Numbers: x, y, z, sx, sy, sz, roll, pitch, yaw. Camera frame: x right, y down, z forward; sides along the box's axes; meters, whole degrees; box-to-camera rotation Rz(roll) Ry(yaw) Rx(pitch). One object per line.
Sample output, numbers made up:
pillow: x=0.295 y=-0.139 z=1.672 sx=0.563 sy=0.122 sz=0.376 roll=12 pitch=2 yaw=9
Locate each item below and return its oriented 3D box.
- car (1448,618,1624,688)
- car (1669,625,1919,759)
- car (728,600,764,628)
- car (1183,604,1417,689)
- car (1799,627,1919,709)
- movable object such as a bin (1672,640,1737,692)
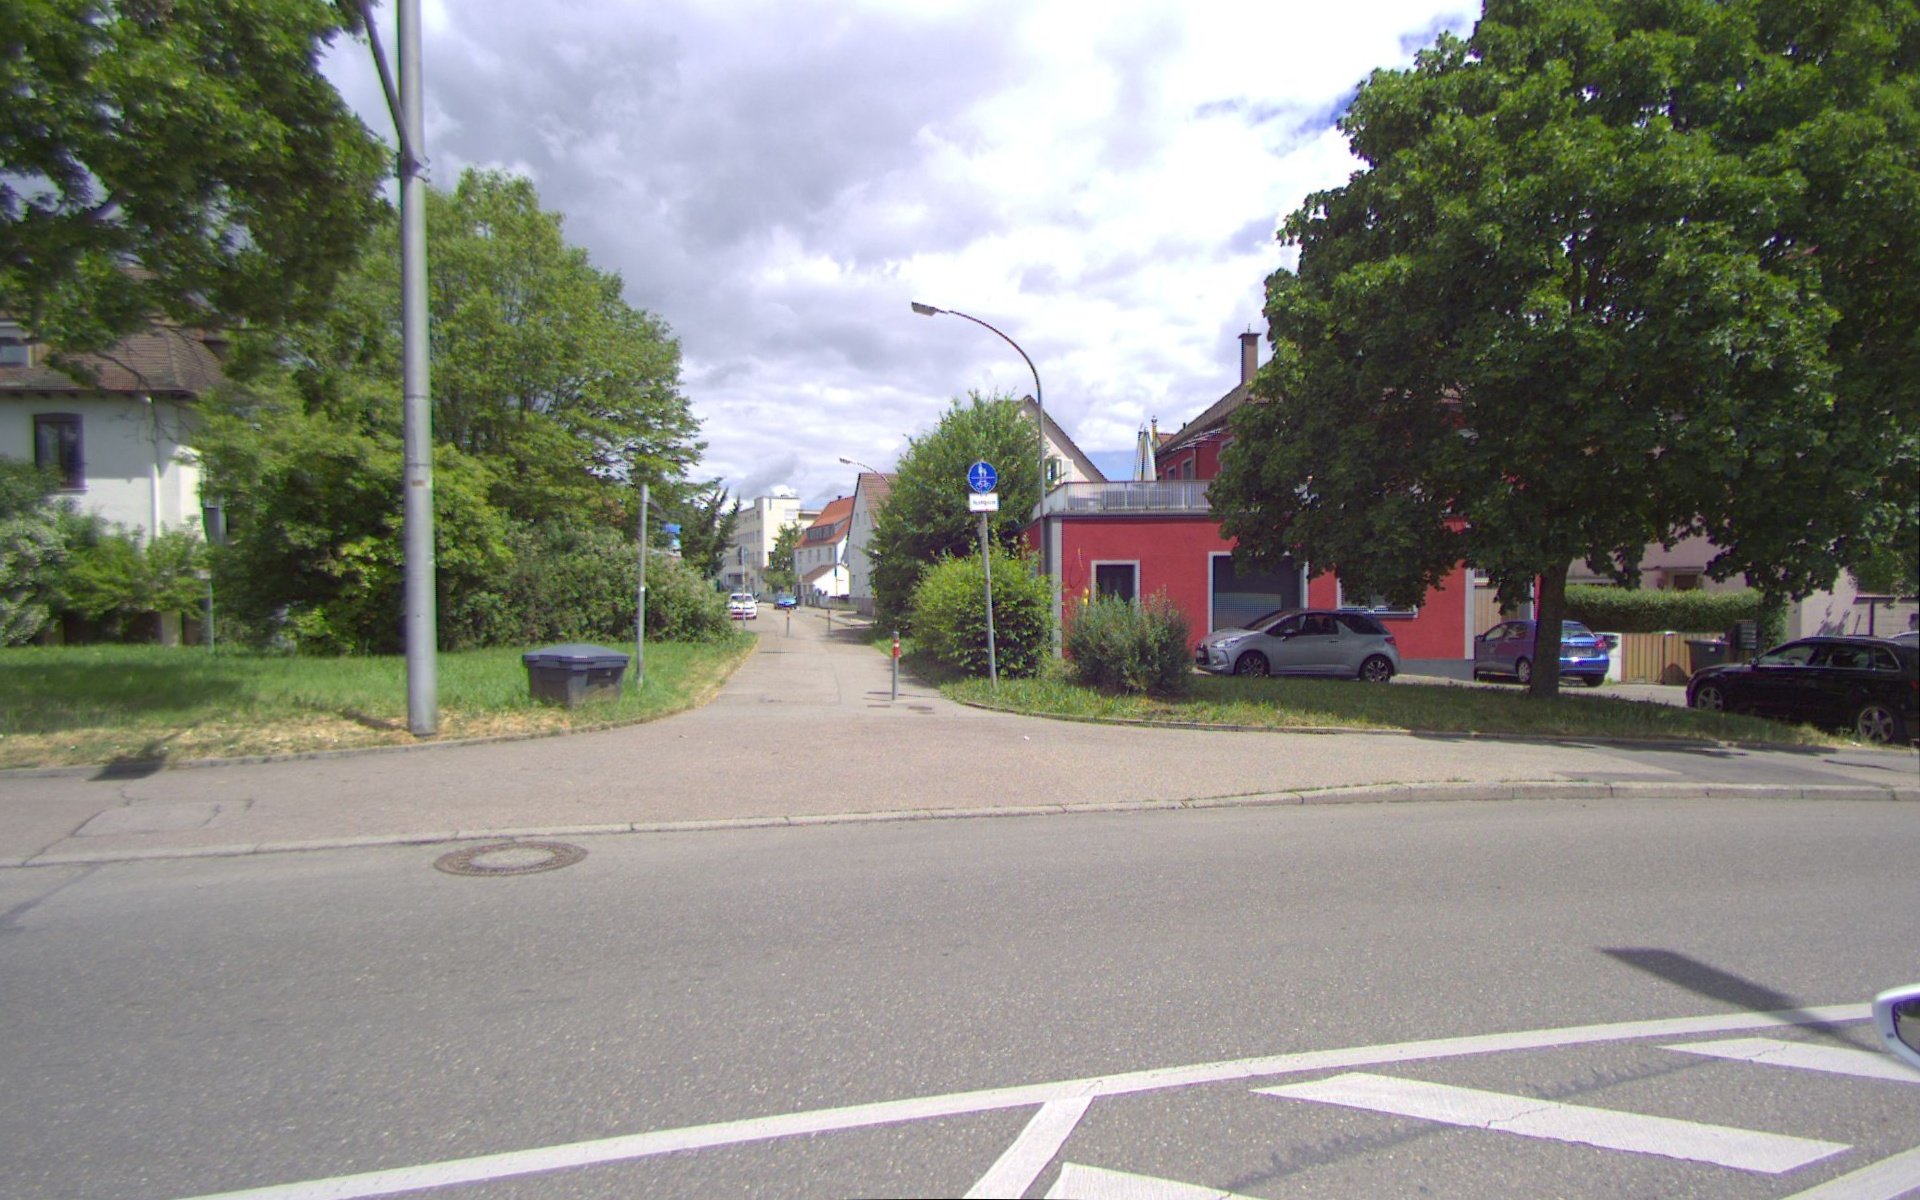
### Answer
car: x=13.224 y=1.176 z=23.345 sx=1.807 sy=1.396 sz=3.813 roll=1 pitch=0 yaw=-2
car: x=12.558 y=1.192 z=14.235 sx=1.961 sy=1.412 sz=4.142 roll=2 pitch=2 yaw=-2
car: x=-12.023 y=0.761 z=56.645 sx=1.851 sy=1.439 sz=3.992 roll=2 pitch=0 yaw=-11
car: x=6.608 y=0.885 z=19.780 sx=3.999 sy=1.445 sz=1.644 roll=2 pitch=2 yaw=-3
car: x=18.297 y=1.303 z=18.689 sx=1.841 sy=1.423 sz=3.928 roll=2 pitch=0 yaw=-5
movable object such as a bin: x=16.823 y=1.480 z=22.708 sx=0.863 sy=1.076 sz=0.758 roll=2 pitch=2 yaw=2
